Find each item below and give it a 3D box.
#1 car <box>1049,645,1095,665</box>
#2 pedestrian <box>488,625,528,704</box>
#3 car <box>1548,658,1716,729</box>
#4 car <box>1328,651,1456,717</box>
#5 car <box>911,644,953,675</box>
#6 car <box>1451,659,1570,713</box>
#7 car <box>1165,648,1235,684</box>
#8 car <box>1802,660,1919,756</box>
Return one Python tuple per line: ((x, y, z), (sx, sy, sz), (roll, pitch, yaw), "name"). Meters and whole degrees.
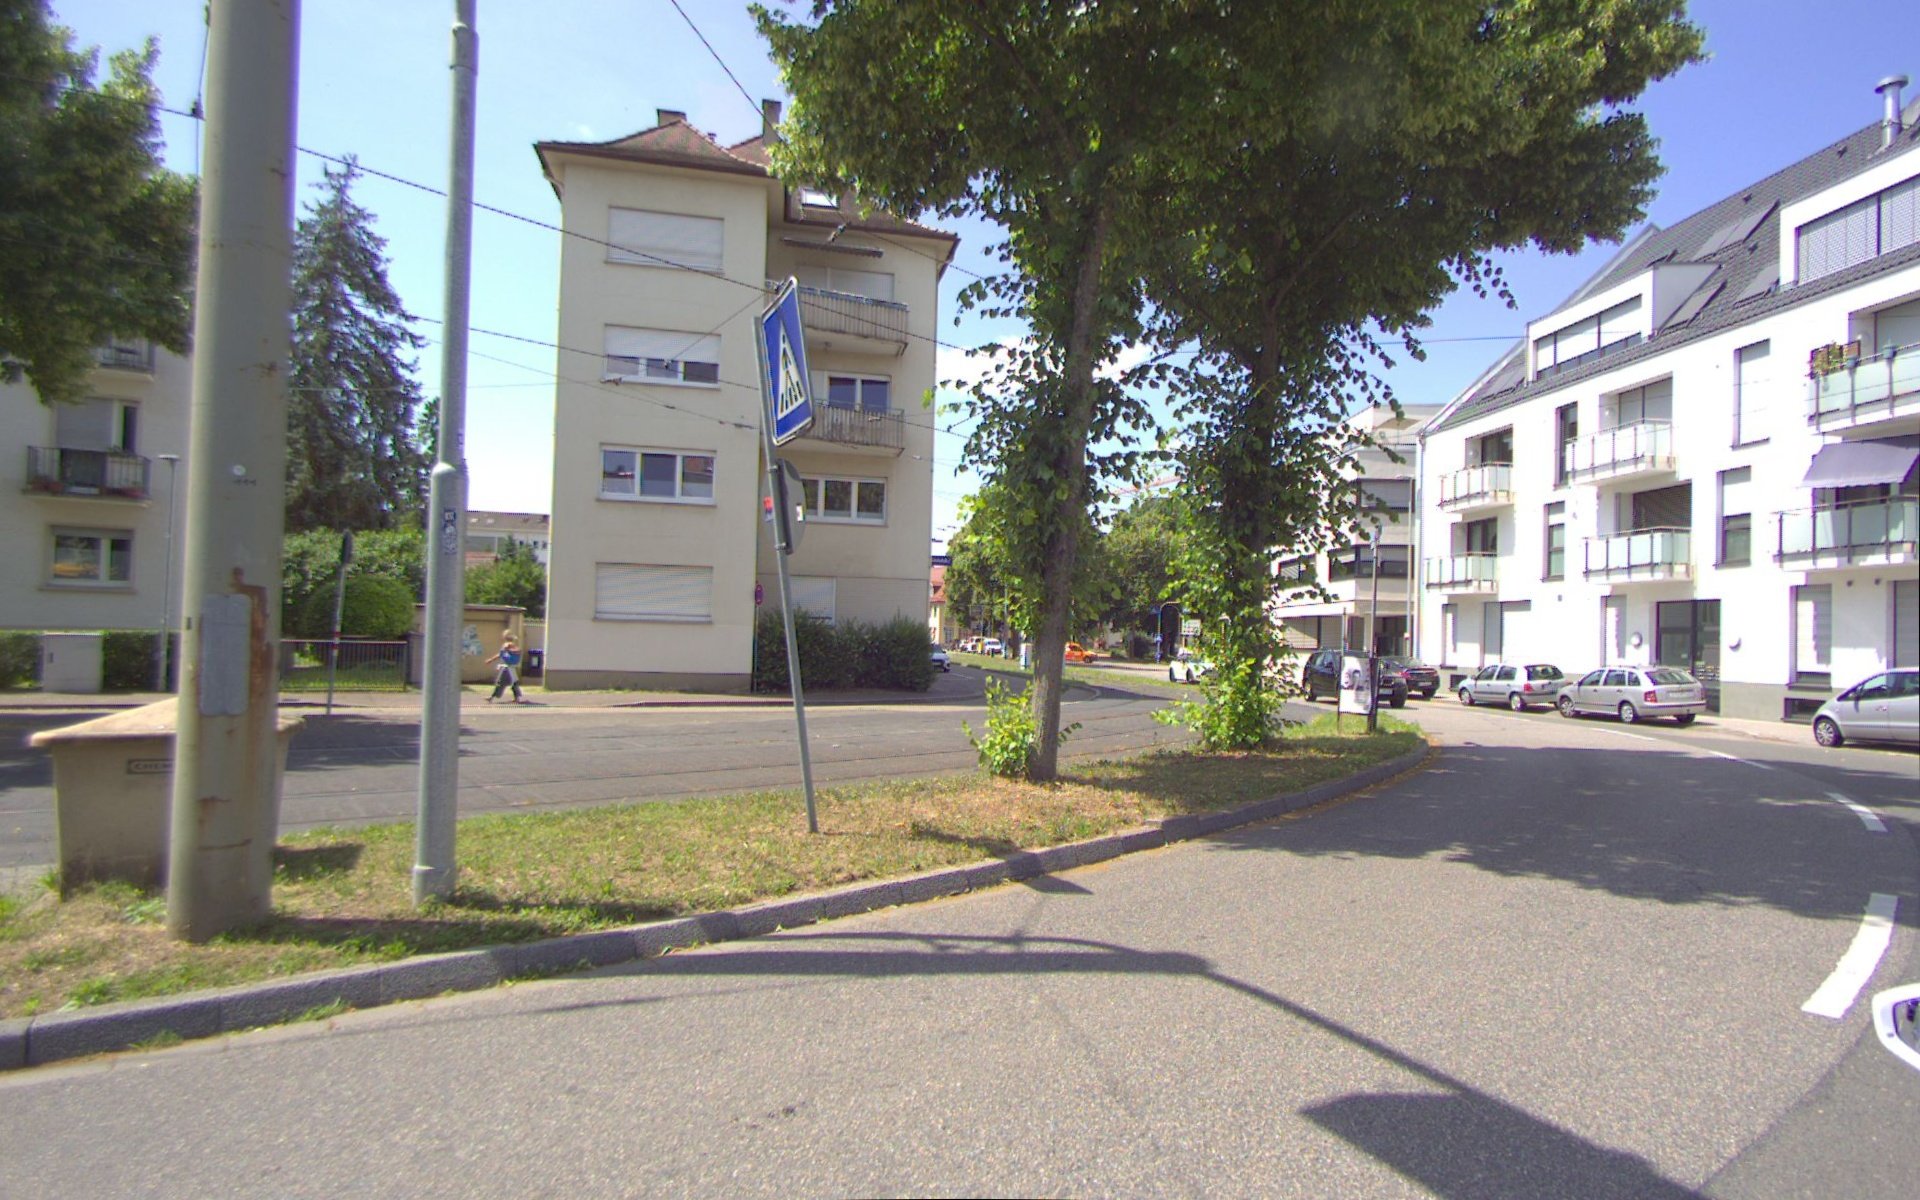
((10.345, 5.072, 92.590), (3.984, 1.547, 1.653), (4, -1, 12), "car")
((-9.916, 1.408, 22.036), (0.601, 1.674, 0.569), (4, -1, -35), "pedestrian")
((17.301, 2.366, 26.097), (1.629, 1.485, 3.908), (-2, -1, -2), "car")
((11.474, 2.196, 27.008), (1.856, 1.572, 4.400), (1, -3, 5), "car")
((-1.499, 3.052, 52.058), (1.558, 1.305, 3.846), (4, -1, -10), "car")
((16.905, 2.607, 31.025), (1.396, 1.375, 3.500), (-2, -1, -7), "car")
((10.714, 2.934, 45.152), (1.754, 1.260, 3.996), (4, -1, -7), "car")
((17.841, 2.024, 18.548), (1.553, 1.607, 3.619), (4, -1, 2), "car")
